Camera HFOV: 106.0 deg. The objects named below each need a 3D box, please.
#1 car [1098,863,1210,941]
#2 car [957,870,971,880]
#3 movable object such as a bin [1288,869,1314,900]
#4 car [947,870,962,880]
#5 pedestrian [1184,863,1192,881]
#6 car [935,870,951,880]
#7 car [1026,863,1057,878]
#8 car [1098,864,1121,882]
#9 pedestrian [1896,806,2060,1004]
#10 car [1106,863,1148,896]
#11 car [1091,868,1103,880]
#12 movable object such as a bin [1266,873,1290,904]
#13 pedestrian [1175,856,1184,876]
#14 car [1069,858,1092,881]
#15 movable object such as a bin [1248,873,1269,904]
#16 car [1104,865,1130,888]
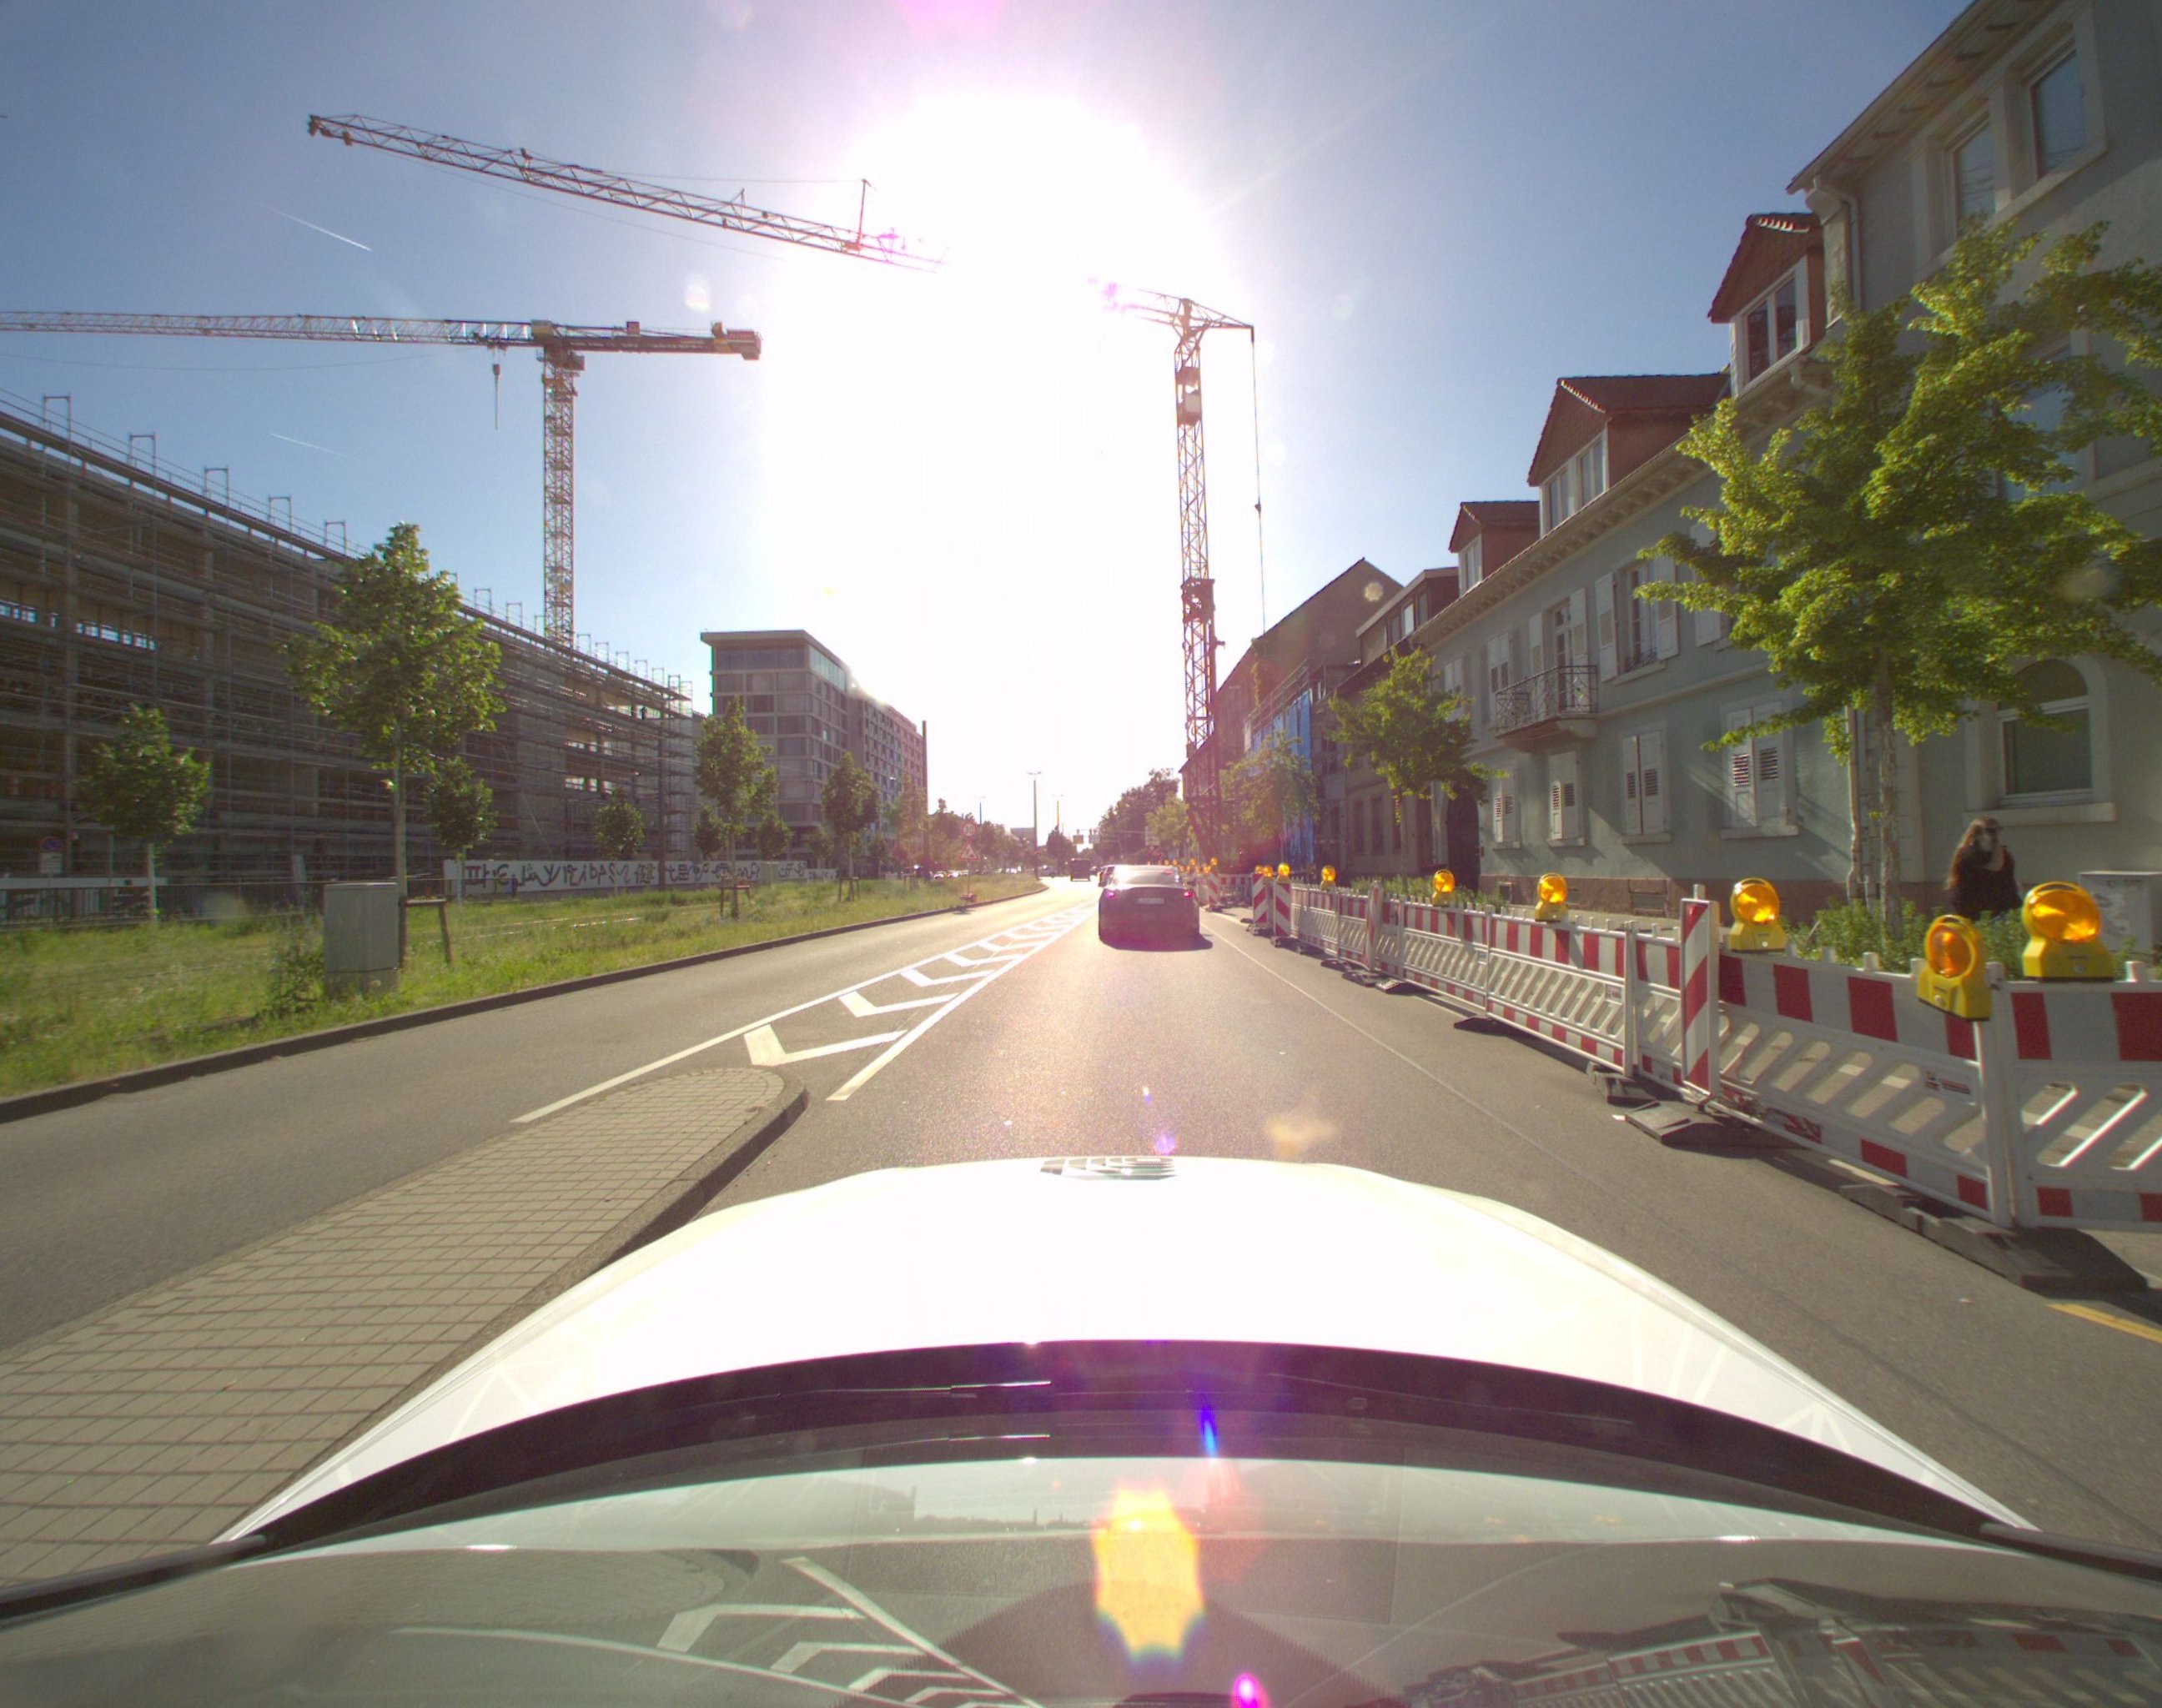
[{"bbox_3d":[1.402,0.912,17.397,2.044,1.444,4.524,0,-1,0],"label":"car"},{"bbox_3d":[-20.564,3.696,142.990,1.784,1.651,4.001,-2,-1,1],"label":"car"},{"bbox_3d":[7.911,1.096,29.300,0.586,1.058,0.782,-6,0,-4],"label":"movable object such as a bin"},{"bbox_3d":[-20.870,3.483,134.482,1.784,1.651,4.001,-2,-1,1],"label":"car"},{"bbox_3d":[10.678,1.806,81.373,0.561,1.821,0.587,-4,-1,0],"label":"pedestrian"},{"bbox_3d":[-23.177,3.564,136.935,1.784,1.651,4.001,-2,-1,1],"label":"car"},{"bbox_3d":[-5.289,2.189,108.079,3.967,1.918,1.911,-1,-1,-5],"label":"car"},{"bbox_3d":[2.436,1.614,69.575,1.786,1.428,3.848,0,-1,-1],"label":"car"},{"bbox_3d":[9.151,0.503,8.344,0.790,1.928,0.771,-1,-1,2],"label":"pedestrian"},{"bbox_3d":[2.112,1.163,38.442,1.742,1.427,4.838,-1,-1,1],"label":"car"},{"bbox_3d":[2.544,3.239,131.688,1.786,1.874,3.848,0,-1,-1],"label":"car"},{"bbox_3d":[7.105,1.227,29.392,0.593,1.058,0.731,-5,-1,1],"label":"movable object such as a bin"},{"bbox_3d":[9.866,1.229,81.298,0.656,1.913,0.587,-4,-1,0],"label":"pedestrian"},{"bbox_3d":[-0.043,1.528,82.640,2.211,2.267,4.483,0,0,0],"label":"car"},{"bbox_3d":[6.350,1.232,29.172,0.585,1.058,0.731,0,-1,1],"label":"movable object such as a bin"},{"bbox_3d":[2.492,1.556,57.361,1.743,1.527,4.006,0,-1,1],"label":"car"}]
